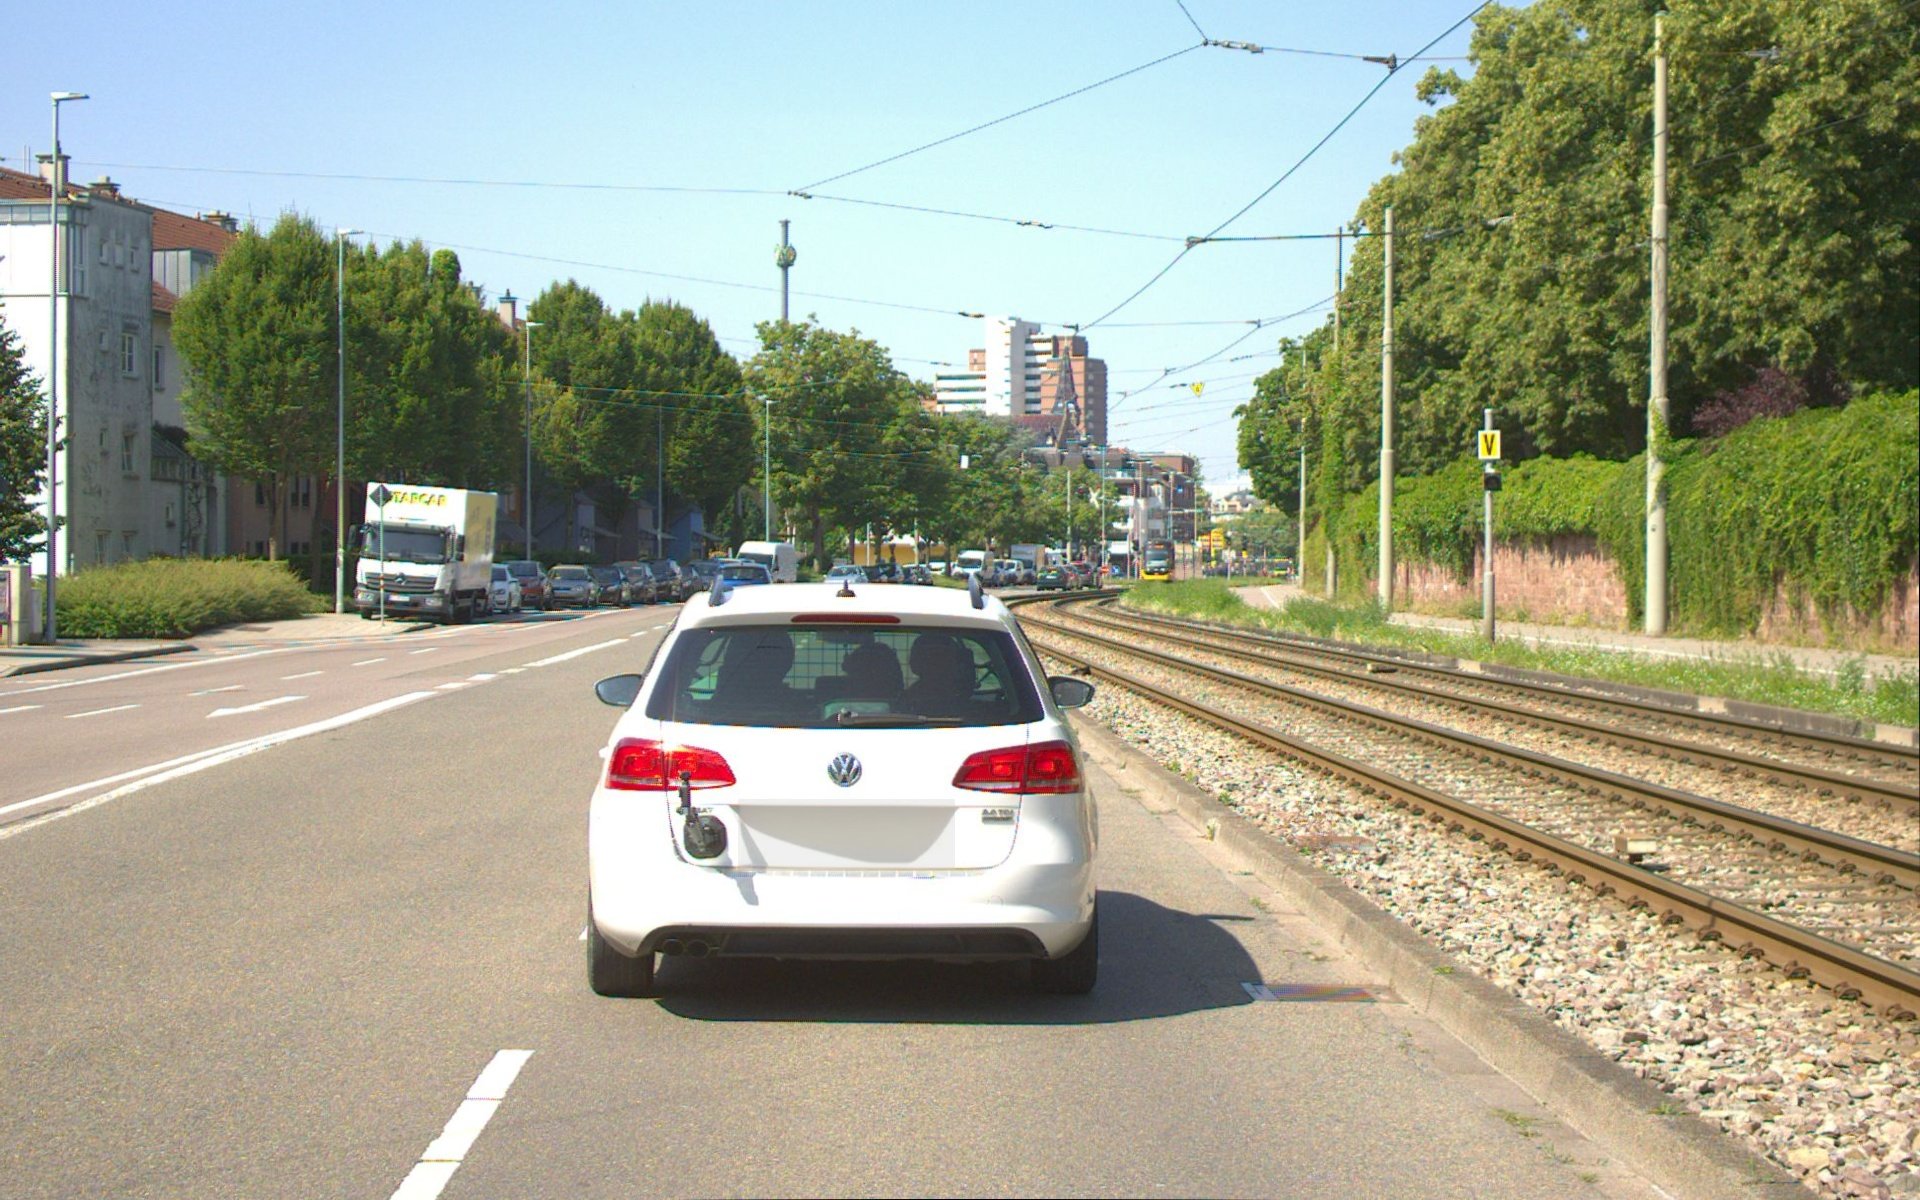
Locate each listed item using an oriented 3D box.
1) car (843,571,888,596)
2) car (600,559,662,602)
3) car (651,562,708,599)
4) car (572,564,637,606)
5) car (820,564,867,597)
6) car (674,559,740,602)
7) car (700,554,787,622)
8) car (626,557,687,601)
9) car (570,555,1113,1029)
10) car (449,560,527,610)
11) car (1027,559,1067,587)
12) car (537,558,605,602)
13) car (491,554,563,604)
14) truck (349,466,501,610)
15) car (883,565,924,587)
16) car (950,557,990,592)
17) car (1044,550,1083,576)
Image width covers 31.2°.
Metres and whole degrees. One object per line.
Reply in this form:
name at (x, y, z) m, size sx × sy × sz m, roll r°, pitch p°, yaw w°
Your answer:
car at (-5.305, -0.947, 193.659) m, size 1.700 × 1.412 × 3.998 m, roll 0°, pitch 0°, yaw 11°
car at (-12.759, -0.766, 133.581) m, size 1.717 × 1.619 × 4.312 m, roll 2°, pitch 1°, yaw 3°
car at (-11.782, -0.815, 144.563) m, size 1.690 × 1.469 × 4.048 m, roll 3°, pitch 1°, yaw 5°
car at (-13.178, -0.552, 127.614) m, size 1.723 × 1.469 × 4.715 m, roll 2°, pitch 0°, yaw 2°
car at (-5.276, -0.894, 156.354) m, size 1.659 × 1.415 × 4.309 m, roll -2°, pitch 0°, yaw 4°
car at (-10.982, -0.846, 149.666) m, size 1.801 × 1.719 × 4.908 m, roll 3°, pitch 1°, yaw 8°
car at (-5.190, -0.315, 82.812) m, size 1.800 × 1.502 × 4.000 m, roll 1°, pitch 2°, yaw 0°
car at (-12.251, -0.856, 139.100) m, size 1.769 × 1.717 × 4.870 m, roll 2°, pitch 1°, yaw 2°
car at (-0.422, 0.583, 13.134) m, size 1.691 × 1.446 × 4.459 m, roll 1°, pitch 1°, yaw -1°
car at (-14.098, -0.462, 102.822) m, size 1.757 × 1.424 × 4.282 m, roll 2°, pitch 1°, yaw -1°
car at (4.833, -1.500, 190.240) m, size 1.801 × 1.502 × 3.999 m, roll 1°, pitch 1°, yaw 7°
car at (-13.674, -0.687, 120.984) m, size 1.780 × 1.478 × 4.857 m, roll 2°, pitch 0°, yaw 0°
car at (-13.864, -0.691, 110.304) m, size 1.731 × 1.546 × 4.318 m, roll 1°, pitch 1°, yaw 0°
truck at (-13.949, -1.606, 90.253) m, size 2.667 × 3.518 × 8.591 m, roll 2°, pitch 1°, yaw -1°
car at (-3.377, -1.435, 206.396) m, size 1.700 × 1.347 × 3.998 m, roll 0°, pitch 0°, yaw 11°
car at (0.721, -1.792, 240.406) m, size 1.881 × 2.407 × 5.114 m, roll 0°, pitch 0°, yaw 11°
car at (5.920, -2.112, 196.220) m, size 1.801 × 1.455 × 3.999 m, roll 1°, pitch 1°, yaw 7°
